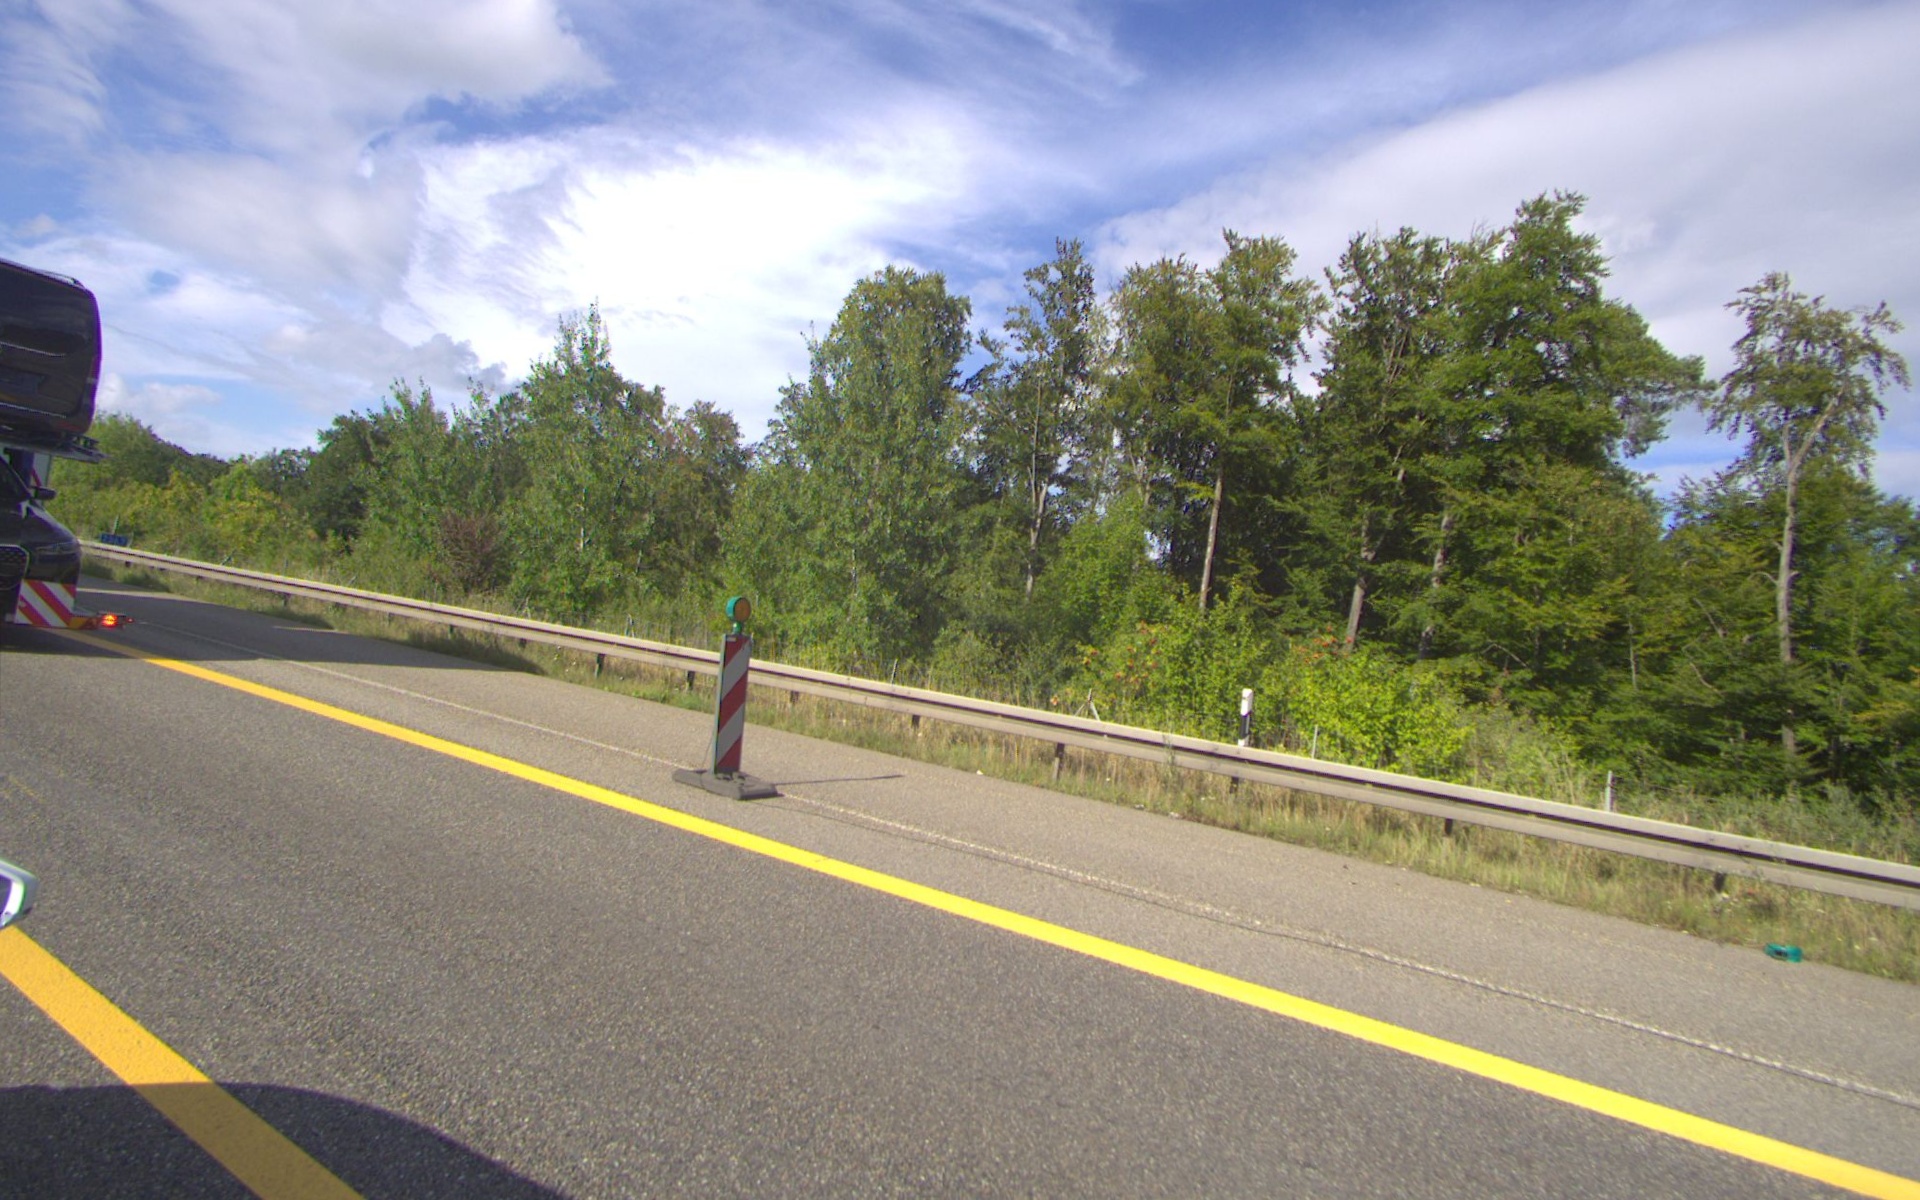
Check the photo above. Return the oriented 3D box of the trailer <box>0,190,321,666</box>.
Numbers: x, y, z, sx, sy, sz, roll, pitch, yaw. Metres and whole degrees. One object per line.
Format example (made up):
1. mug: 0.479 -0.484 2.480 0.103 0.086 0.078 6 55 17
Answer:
1. trailer: -15.394 -2.305 14.064 15.954 4.244 3.735 6 -2 31
